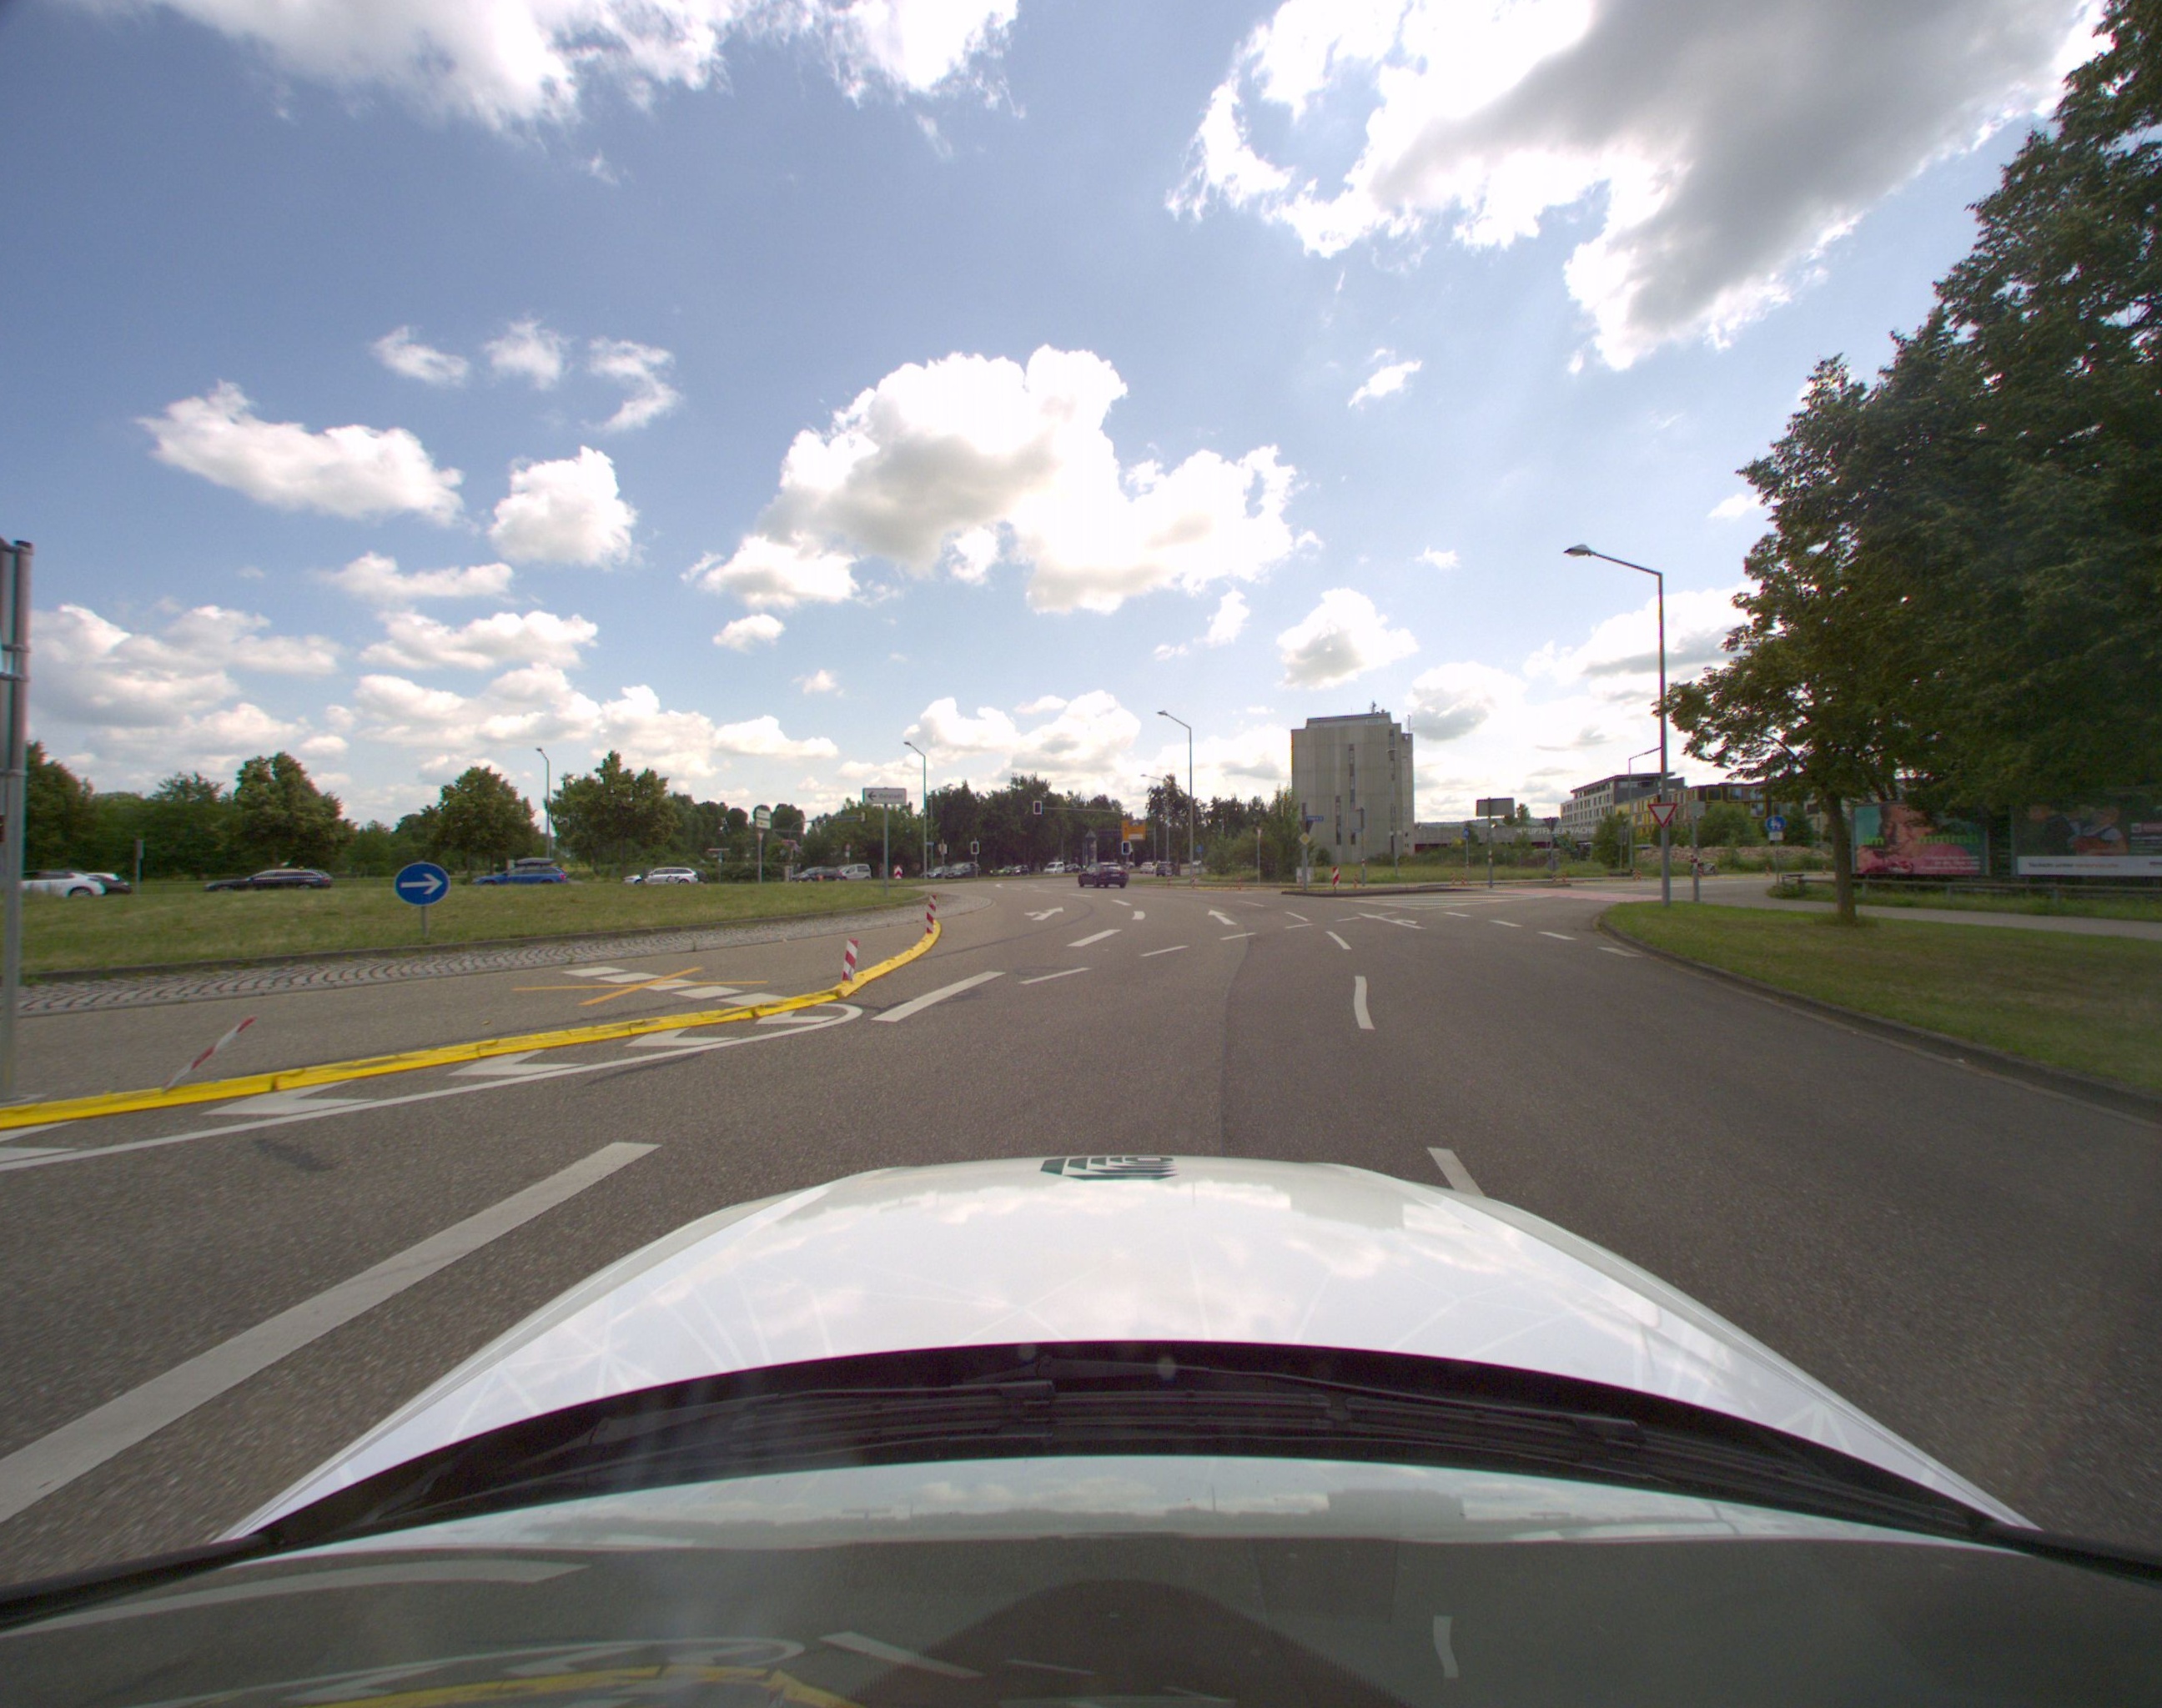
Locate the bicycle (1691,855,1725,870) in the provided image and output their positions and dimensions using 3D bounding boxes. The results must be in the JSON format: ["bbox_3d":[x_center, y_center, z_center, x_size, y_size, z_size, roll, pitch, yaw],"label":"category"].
[{"bbox_3d":[44.645,0.633,57.989,2.547,1.017,0.869,2,-1,-24],"label":"bicycle"}]

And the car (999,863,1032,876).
[{"bbox_3d":[-7.571,1.800,94.748,1.822,1.310,4.813,-3,-1,22],"label":"car"}]

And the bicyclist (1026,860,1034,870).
[{"bbox_3d":[-7.661,1.636,121.795,0.823,1.565,0.888,1,0,19],"label":"bicyclist"}]

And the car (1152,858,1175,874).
[{"bbox_3d":[9.557,1.391,94.173,1.980,1.626,4.325,-2,1,13],"label":"car"}]

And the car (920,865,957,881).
[{"bbox_3d":[-13.452,1.777,77.114,1.892,1.423,4.207,-1,0,14],"label":"car"}]

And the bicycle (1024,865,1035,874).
[{"bbox_3d":[-7.694,2.318,121.743,0.754,1.219,2.026,1,0,19],"label":"bicycle"}]

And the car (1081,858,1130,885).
[{"bbox_3d":[1.375,0.980,46.934,1.687,1.463,3.977,1,0,-17],"label":"car"}]

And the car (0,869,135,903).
[{"bbox_3d":[-44.898,1.374,35.754,1.974,1.329,4.338,-1,0,39],"label":"car"}]

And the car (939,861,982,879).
[{"bbox_3d":[-11.034,1.473,74.774,1.891,1.592,4.616,-1,-1,21],"label":"car"}]

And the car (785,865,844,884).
[{"bbox_3d":[-20.751,1.607,63.510,4.000,1.340,1.782,-2,-1,-40],"label":"car"}]

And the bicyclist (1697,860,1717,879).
[{"bbox_3d":[44.505,1.123,57.906,0.813,1.325,0.869,2,-2,-24],"label":"bicyclist"}]

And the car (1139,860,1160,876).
[{"bbox_3d":[9.108,1.840,107.857,1.978,2.014,4.017,0,0,17],"label":"car"}]

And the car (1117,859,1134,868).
[{"bbox_3d":[8.150,1.656,147.919,1.708,1.591,5.037,-2,-1,19],"label":"car"}]

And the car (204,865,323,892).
[{"bbox_3d":[-44.472,1.319,44.412,1.930,1.323,4.517,0,0,45],"label":"car"}]

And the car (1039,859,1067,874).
[{"bbox_3d":[-3.577,1.564,105.219,1.822,1.799,4.811,-3,-1,20],"label":"car"}]

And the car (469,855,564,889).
[{"bbox_3d":[-32.236,0.989,46.562,4.428,1.798,1.736,0,0,-37],"label":"car"}]

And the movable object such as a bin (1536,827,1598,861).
[{"bbox_3d":[59.329,-1.191,99.442,7.634,3.853,3.022,2,-2,-28],"label":"movable object such as a bin"}]

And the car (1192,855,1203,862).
[{"bbox_3d":[26.827,1.065,187.709,1.748,1.440,4.330,-2,-1,19],"label":"car"}]

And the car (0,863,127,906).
[{"bbox_3d":[-52.395,1.507,41.518,4.753,2.013,1.975,0,0,-45],"label":"car"}]

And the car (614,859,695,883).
[{"bbox_3d":[-28.772,1.121,54.996,4.530,1.521,2.099,0,0,-40],"label":"car"}]

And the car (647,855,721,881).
[{"bbox_3d":[-29.289,1.000,60.096,4.681,1.821,2.103,0,0,-35],"label":"car"}]

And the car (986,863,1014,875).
[{"bbox_3d":[-9.626,1.751,97.009,1.602,1.348,4.191,-3,-1,20],"label":"car"}]

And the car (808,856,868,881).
[{"bbox_3d":[-20.657,1.198,69.401,1.974,2.014,4.817,-1,-1,30],"label":"car"}]
